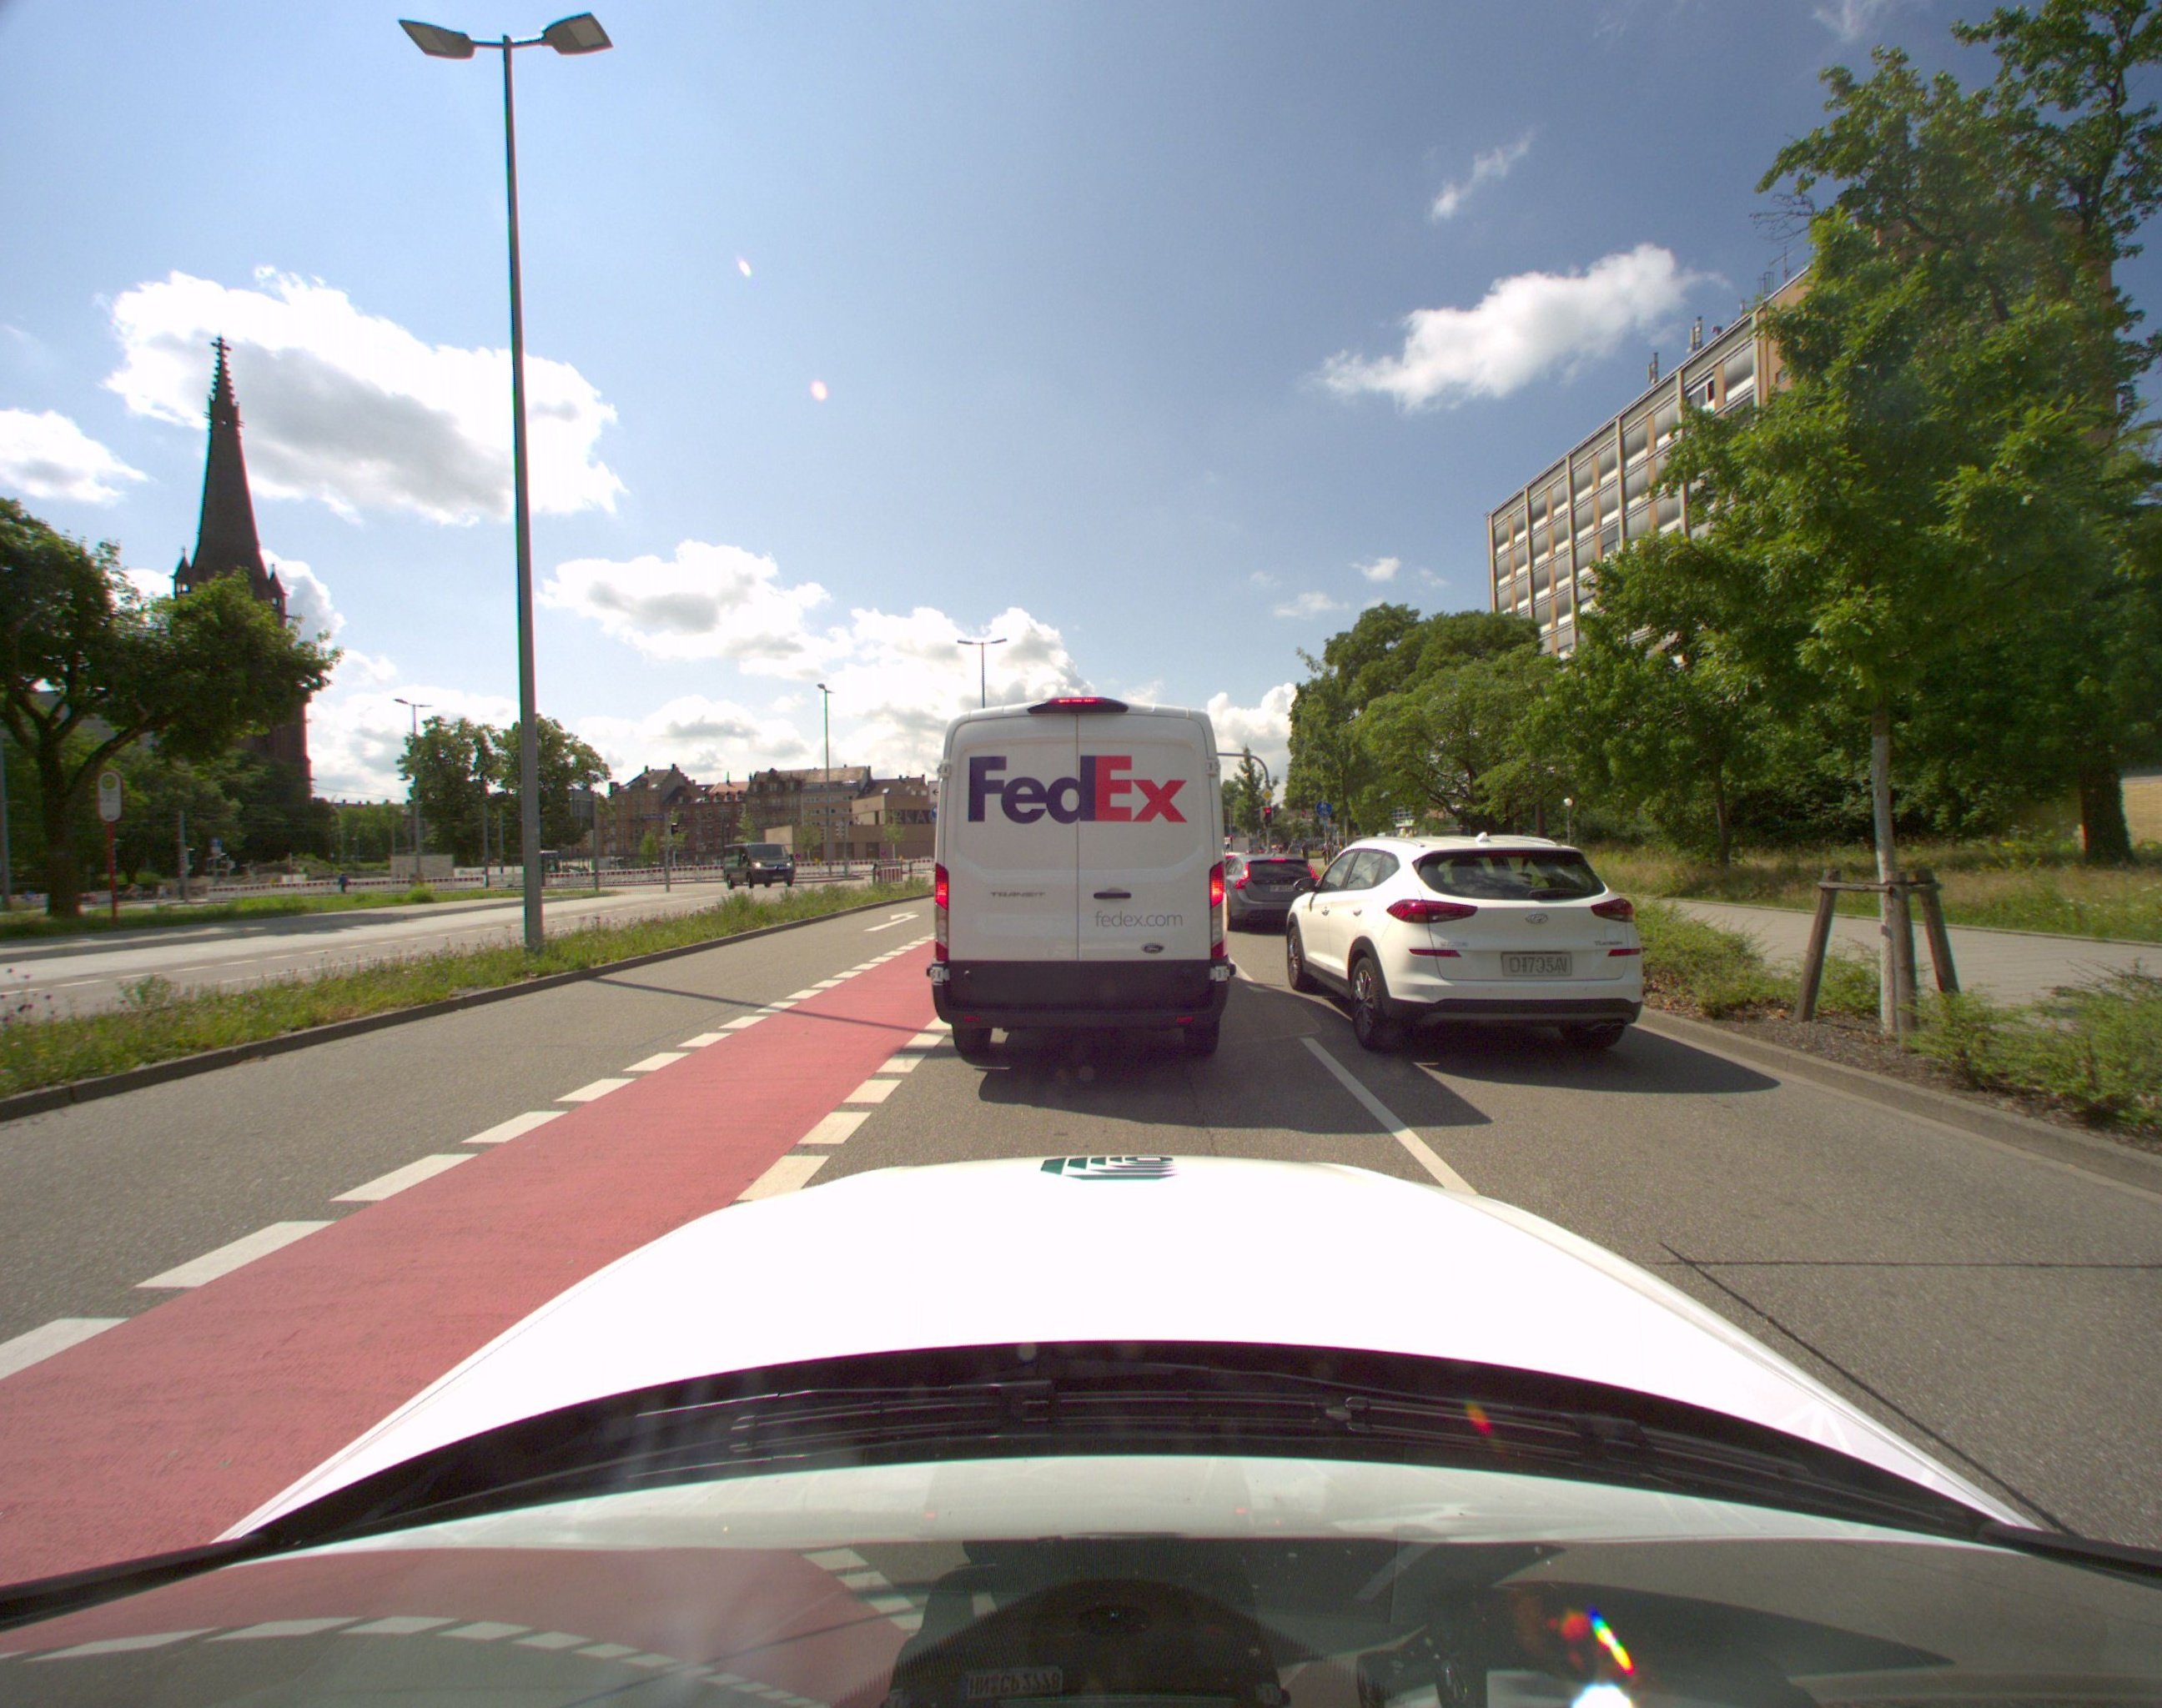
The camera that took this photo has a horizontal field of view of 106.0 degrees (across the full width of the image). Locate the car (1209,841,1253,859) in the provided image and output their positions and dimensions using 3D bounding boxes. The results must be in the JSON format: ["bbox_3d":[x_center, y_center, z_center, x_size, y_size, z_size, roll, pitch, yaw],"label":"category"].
[{"bbox_3d":[23.577,-0.625,127.862,7.115,2.717,2.469,0,-1,-36],"label":"car"}]

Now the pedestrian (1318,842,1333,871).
[{"bbox_3d":[16.024,0.138,53.432,0.755,1.849,0.817,-2,0,5],"label":"pedestrian"}]

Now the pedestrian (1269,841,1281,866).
[{"bbox_3d":[14.664,-0.021,61.532,0.754,1.849,0.818,-2,0,8],"label":"pedestrian"}]

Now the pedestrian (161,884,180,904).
[{"bbox_3d":[-82.512,3.624,73.798,0.860,1.663,0.745,-2,0,-29],"label":"pedestrian"}]

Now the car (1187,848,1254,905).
[{"bbox_3d":[3.917,0.572,23.280,1.493,1.464,3.477,-2,0,3],"label":"car"}]

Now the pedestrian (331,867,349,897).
[{"bbox_3d":[-51.769,1.954,56.879,0.644,2.013,0.632,-2,0,-1],"label":"pedestrian"}]

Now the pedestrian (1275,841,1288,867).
[{"bbox_3d":[14.716,0.002,59.715,0.752,1.849,0.820,-2,0,20],"label":"pedestrian"}]

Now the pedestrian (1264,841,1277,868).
[{"bbox_3d":[13.160,0.050,56.539,0.752,1.849,0.820,-2,0,20],"label":"pedestrian"}]

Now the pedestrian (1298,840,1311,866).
[{"bbox_3d":[16.333,-0.050,59.532,0.755,1.849,0.817,-2,0,5],"label":"pedestrian"}]

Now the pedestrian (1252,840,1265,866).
[{"bbox_3d":[13.044,-0.080,59.831,0.810,1.849,0.762,-2,0,5],"label":"pedestrian"}]

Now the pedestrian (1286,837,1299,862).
[{"bbox_3d":[15.735,-0.342,60.605,0.755,1.849,0.817,-2,0,3],"label":"pedestrian"}]

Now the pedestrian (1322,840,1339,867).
[{"bbox_3d":[17.153,-0.034,55.995,0.758,1.849,0.814,-2,0,-8],"label":"pedestrian"}]

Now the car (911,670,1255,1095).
[{"bbox_3d":[0.135,0.171,7.276,2.064,2.581,4.432,-2,0,3],"label":"car"}]

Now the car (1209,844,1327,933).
[{"bbox_3d":[3.622,0.605,16.393,1.684,1.549,3.724,-2,0,3],"label":"car"}]

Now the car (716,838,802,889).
[{"bbox_3d":[-15.625,0.503,39.390,2.167,2.175,4.957,-4,0,-42],"label":"car"}]

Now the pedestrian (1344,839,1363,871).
[{"bbox_3d":[14.663,0.044,43.796,0.755,1.655,0.817,-2,0,5],"label":"pedestrian"}]

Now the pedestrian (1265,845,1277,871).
[{"bbox_3d":[13.724,0.306,58.883,0.753,1.849,0.820,-2,0,16],"label":"pedestrian"}]

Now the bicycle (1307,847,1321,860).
[{"bbox_3d":[27.734,-0.093,96.817,1.414,1.464,4.330,-2,0,17],"label":"bicycle"}]

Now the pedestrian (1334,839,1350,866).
[{"bbox_3d":[17.944,-0.102,56.060,0.758,1.849,0.814,-2,0,-6],"label":"pedestrian"}]

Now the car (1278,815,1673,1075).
[{"bbox_3d":[3.084,0.594,7.381,1.807,1.678,3.978,-2,0,3],"label":"car"}]
